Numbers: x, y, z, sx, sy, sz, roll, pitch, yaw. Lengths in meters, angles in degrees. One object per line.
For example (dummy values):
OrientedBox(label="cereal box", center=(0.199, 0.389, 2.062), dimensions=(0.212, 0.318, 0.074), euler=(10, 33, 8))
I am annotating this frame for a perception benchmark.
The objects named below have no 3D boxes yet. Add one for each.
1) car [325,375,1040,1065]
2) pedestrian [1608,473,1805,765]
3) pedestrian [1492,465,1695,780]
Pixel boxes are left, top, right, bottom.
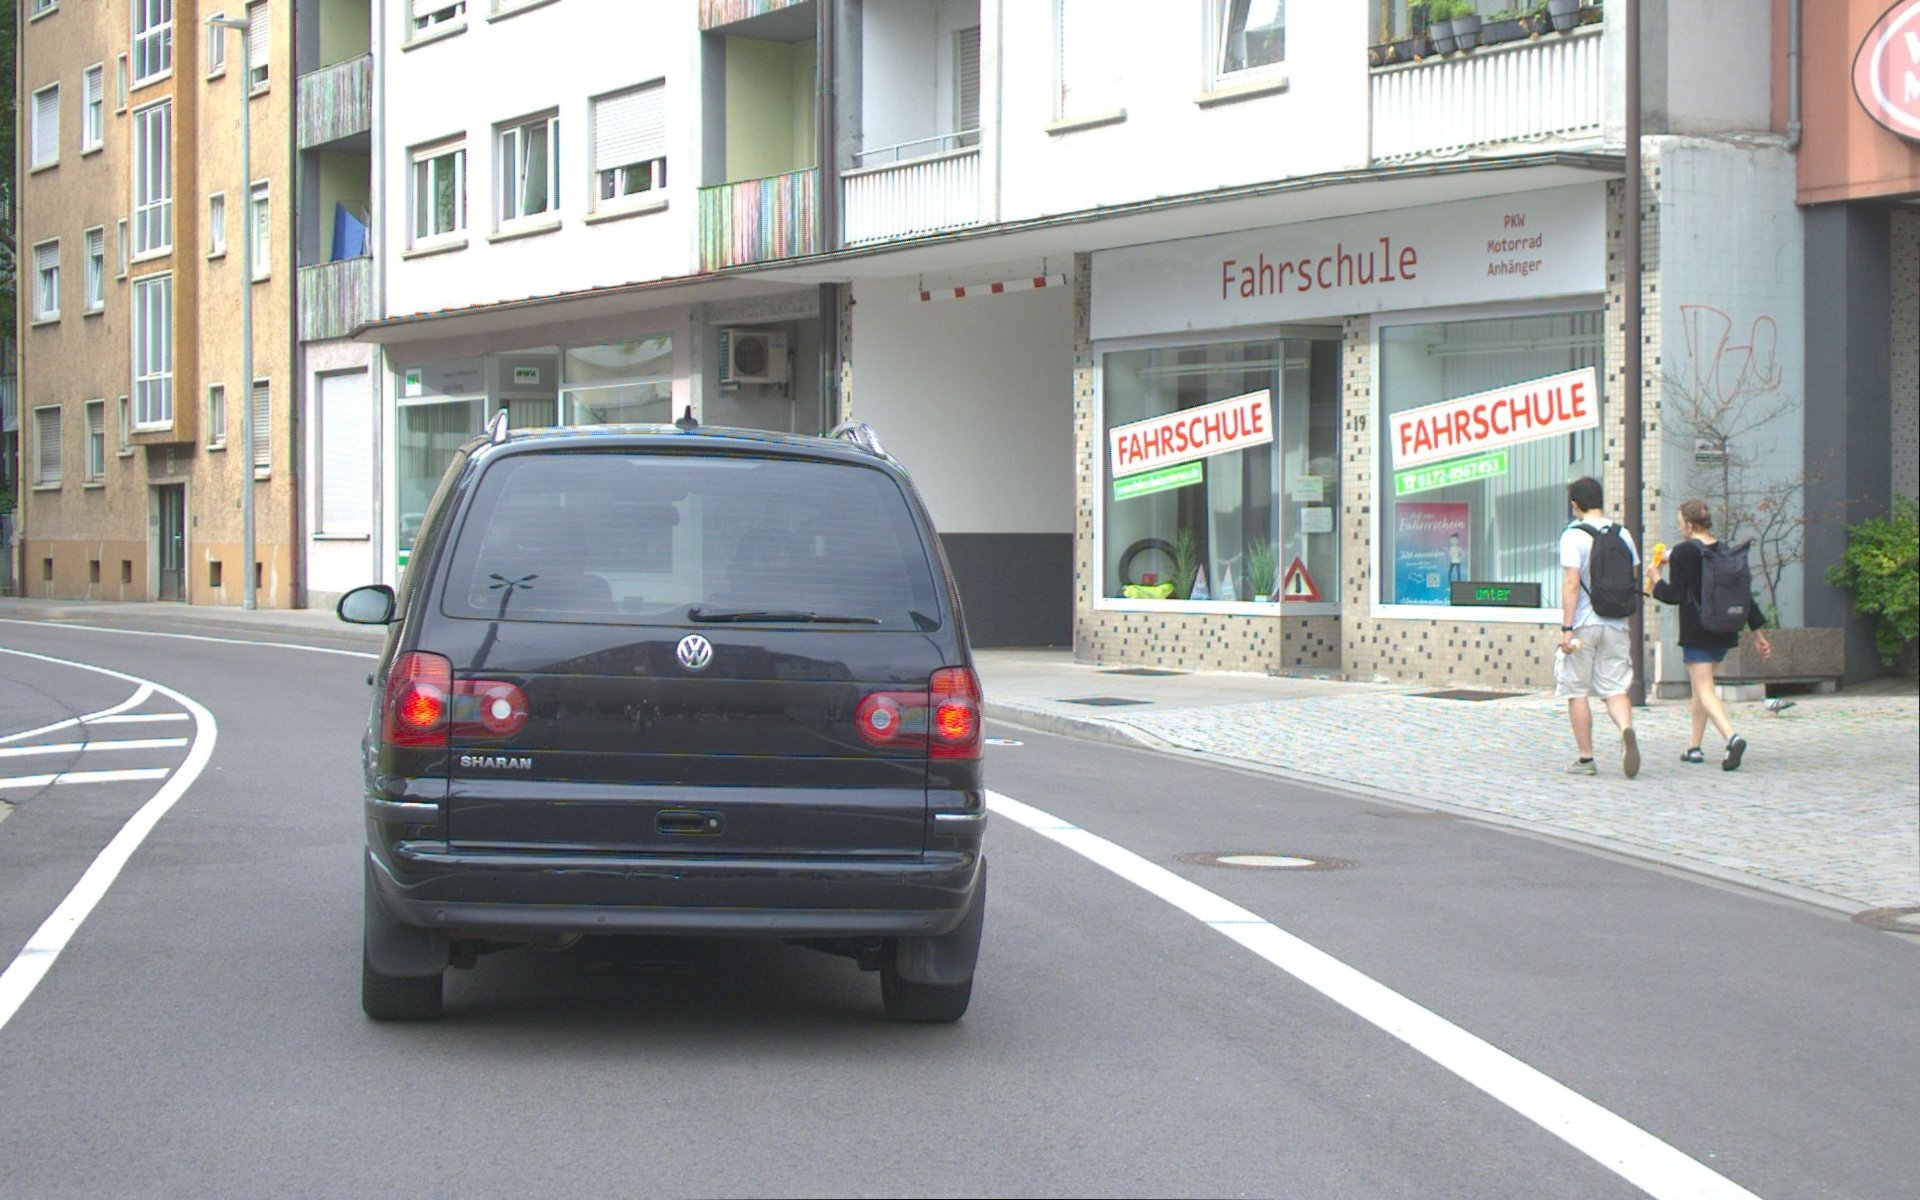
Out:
OrientedBox(label="car", center=(-1.035, 0.277, 10.792), dimensions=(1.812, 1.760, 3.739), euler=(2, 1, -10))
OrientedBox(label="pedestrian", center=(4.411, 0.097, 20.340), dimensions=(0.604, 1.663, 0.944), euler=(-4, 3, -31))
OrientedBox(label="pedestrian", center=(3.662, 0.110, 19.920), dimensions=(0.751, 1.744, 0.859), euler=(-4, 3, -21))
